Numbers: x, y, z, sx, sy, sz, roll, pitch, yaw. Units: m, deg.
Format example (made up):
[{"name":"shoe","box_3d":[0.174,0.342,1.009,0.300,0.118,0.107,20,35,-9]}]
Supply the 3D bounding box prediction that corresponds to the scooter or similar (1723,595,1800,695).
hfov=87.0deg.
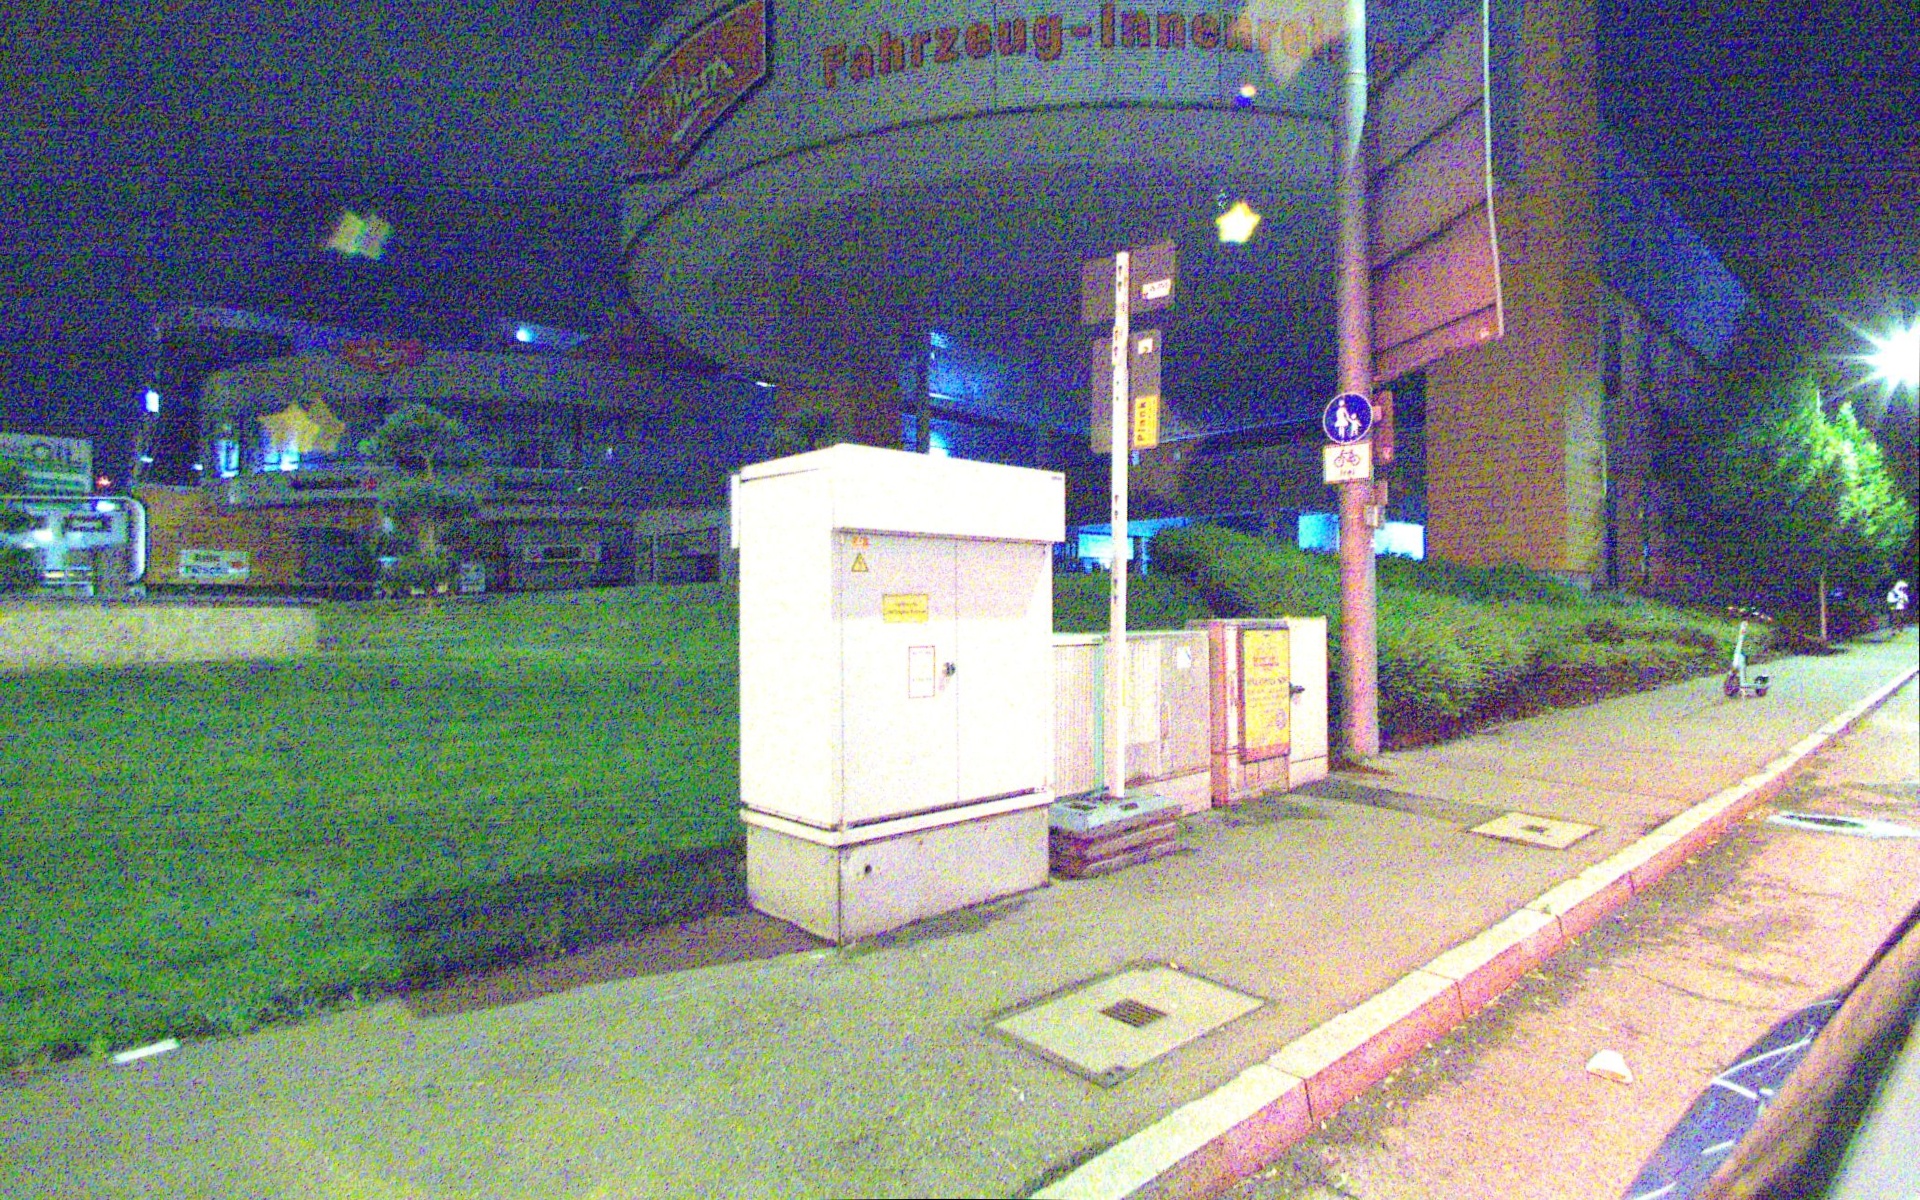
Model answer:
[{"name":"scooter or similar","box_3d":[11.149,0.596,14.062,1.367,1.295,0.569,0,1,-41]}]

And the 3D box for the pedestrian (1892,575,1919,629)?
[{"name":"pedestrian","box_3d":[32.978,0.064,35.147,0.597,1.842,0.824,-1,0,-40]}]
